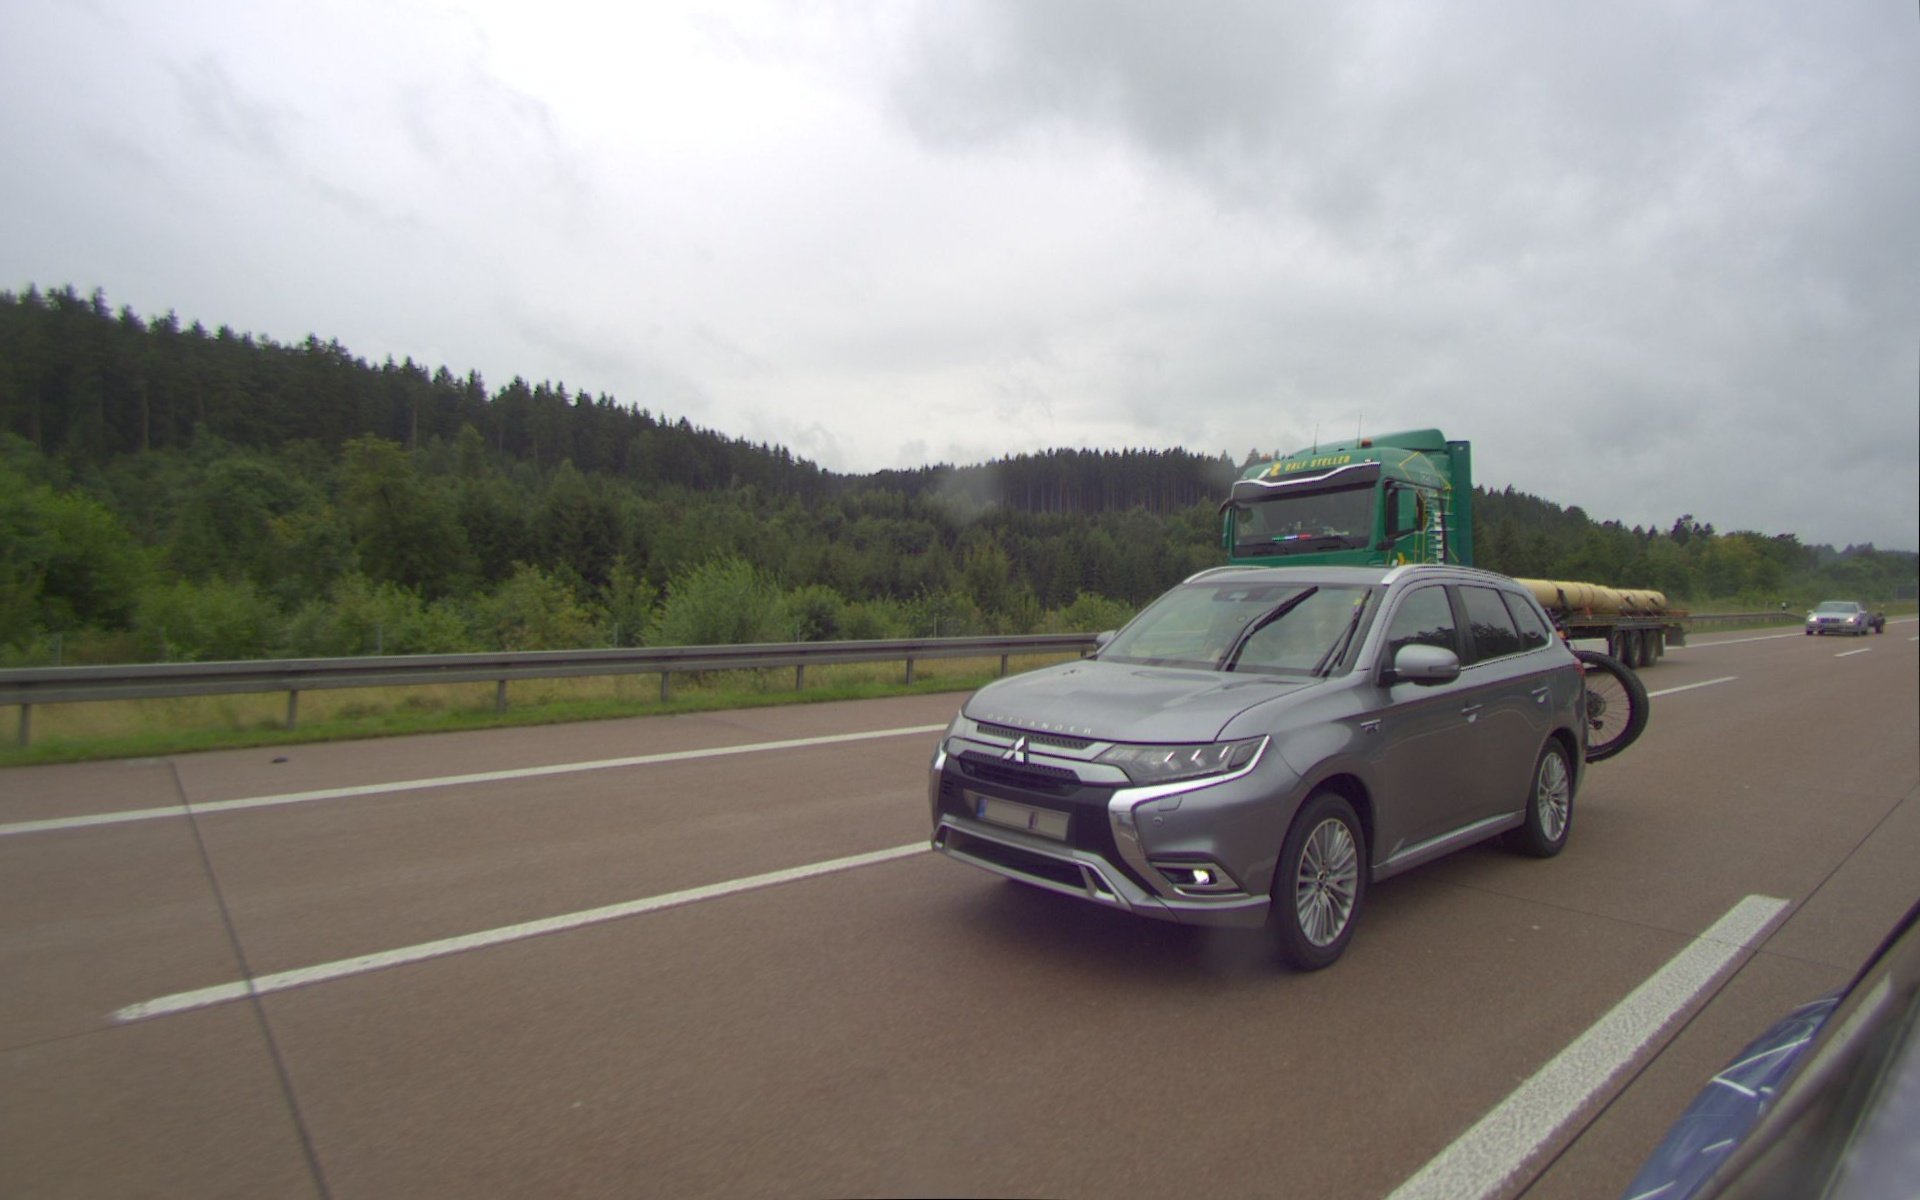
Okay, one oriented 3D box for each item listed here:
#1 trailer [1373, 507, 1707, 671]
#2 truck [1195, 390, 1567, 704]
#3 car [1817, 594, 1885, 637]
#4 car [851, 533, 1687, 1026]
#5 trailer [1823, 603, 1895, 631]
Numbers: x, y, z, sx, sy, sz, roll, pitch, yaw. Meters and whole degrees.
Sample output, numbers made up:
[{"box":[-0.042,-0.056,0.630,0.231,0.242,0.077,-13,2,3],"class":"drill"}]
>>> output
[{"box":[12.836,-0.318,21.625,11.205,2.709,2.885,-2,1,-42],"class":"trailer"},{"box":[7.034,-0.756,16.353,6.871,4.014,2.901,-2,1,-42],"class":"truck"},{"box":[37.796,0.600,42.886,4.893,1.631,1.700,-2,2,-43],"class":"car"},{"box":[2.287,0.516,5.956,5.720,1.612,1.997,-2,1,-41],"class":"car"},{"box":[40.932,0.755,46.040,4.560,1.181,1.974,0,0,-42],"class":"trailer"}]
